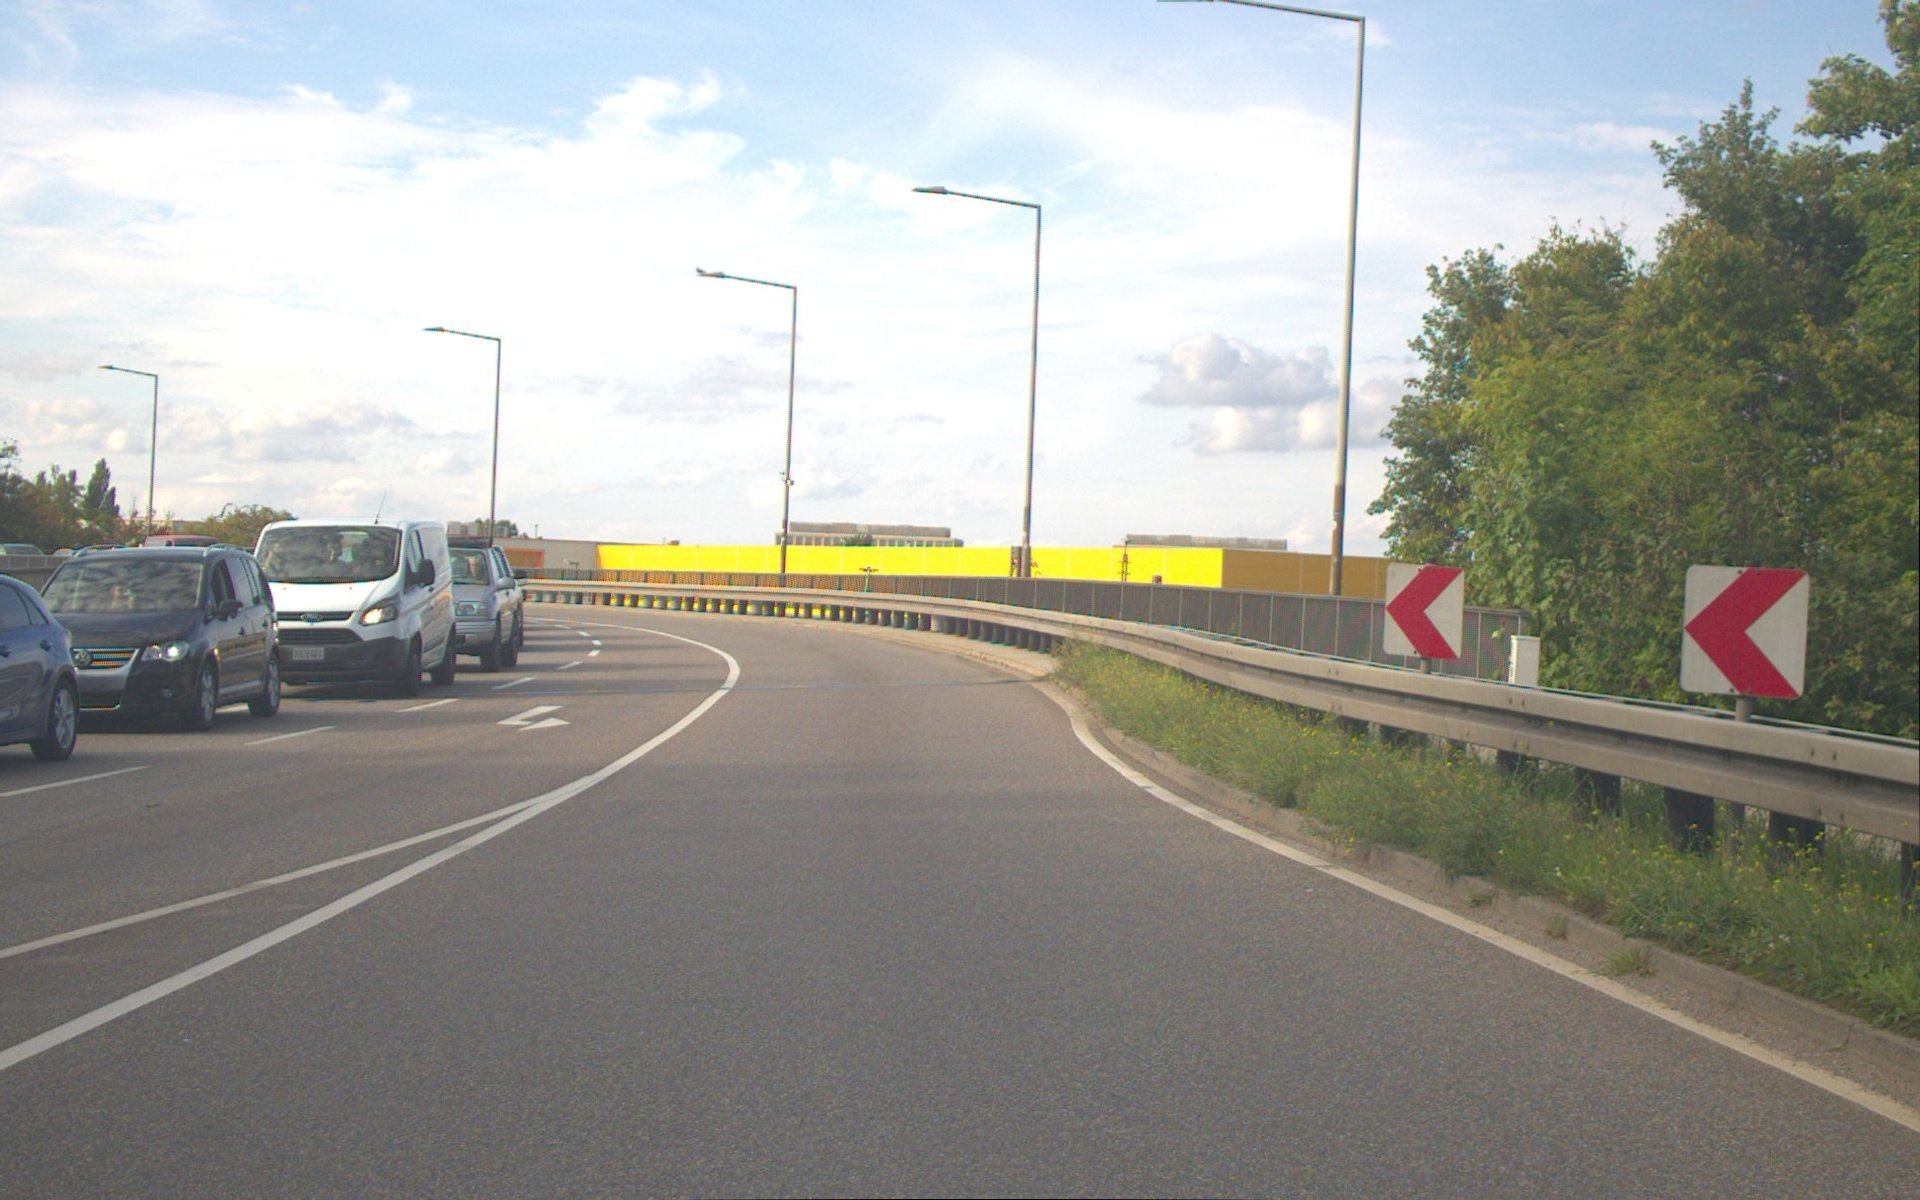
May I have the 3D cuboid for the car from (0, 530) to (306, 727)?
[{"bbox_3d":[-7.247,0.194,31.094,1.746,1.648,4.453,0,1,1],"label":"car"}]

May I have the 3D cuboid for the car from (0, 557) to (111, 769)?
[{"bbox_3d":[-7.568,0.438,24.151,1.893,1.442,4.360,0,1,4],"label":"car"}]

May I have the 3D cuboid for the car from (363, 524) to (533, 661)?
[{"bbox_3d":[-6.723,-0.130,45.455,1.773,1.740,3.837,0,1,-2],"label":"car"}]

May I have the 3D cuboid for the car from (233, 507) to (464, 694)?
[{"bbox_3d":[-6.790,-0.047,38.647,1.985,1.957,5.049,0,1,-3],"label":"car"}]

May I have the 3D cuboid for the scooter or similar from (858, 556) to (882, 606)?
[{"bbox_3d":[-2.093,-0.455,80.129,0.265,1.158,1.189,0,1,-16],"label":"scooter or similar"}]
